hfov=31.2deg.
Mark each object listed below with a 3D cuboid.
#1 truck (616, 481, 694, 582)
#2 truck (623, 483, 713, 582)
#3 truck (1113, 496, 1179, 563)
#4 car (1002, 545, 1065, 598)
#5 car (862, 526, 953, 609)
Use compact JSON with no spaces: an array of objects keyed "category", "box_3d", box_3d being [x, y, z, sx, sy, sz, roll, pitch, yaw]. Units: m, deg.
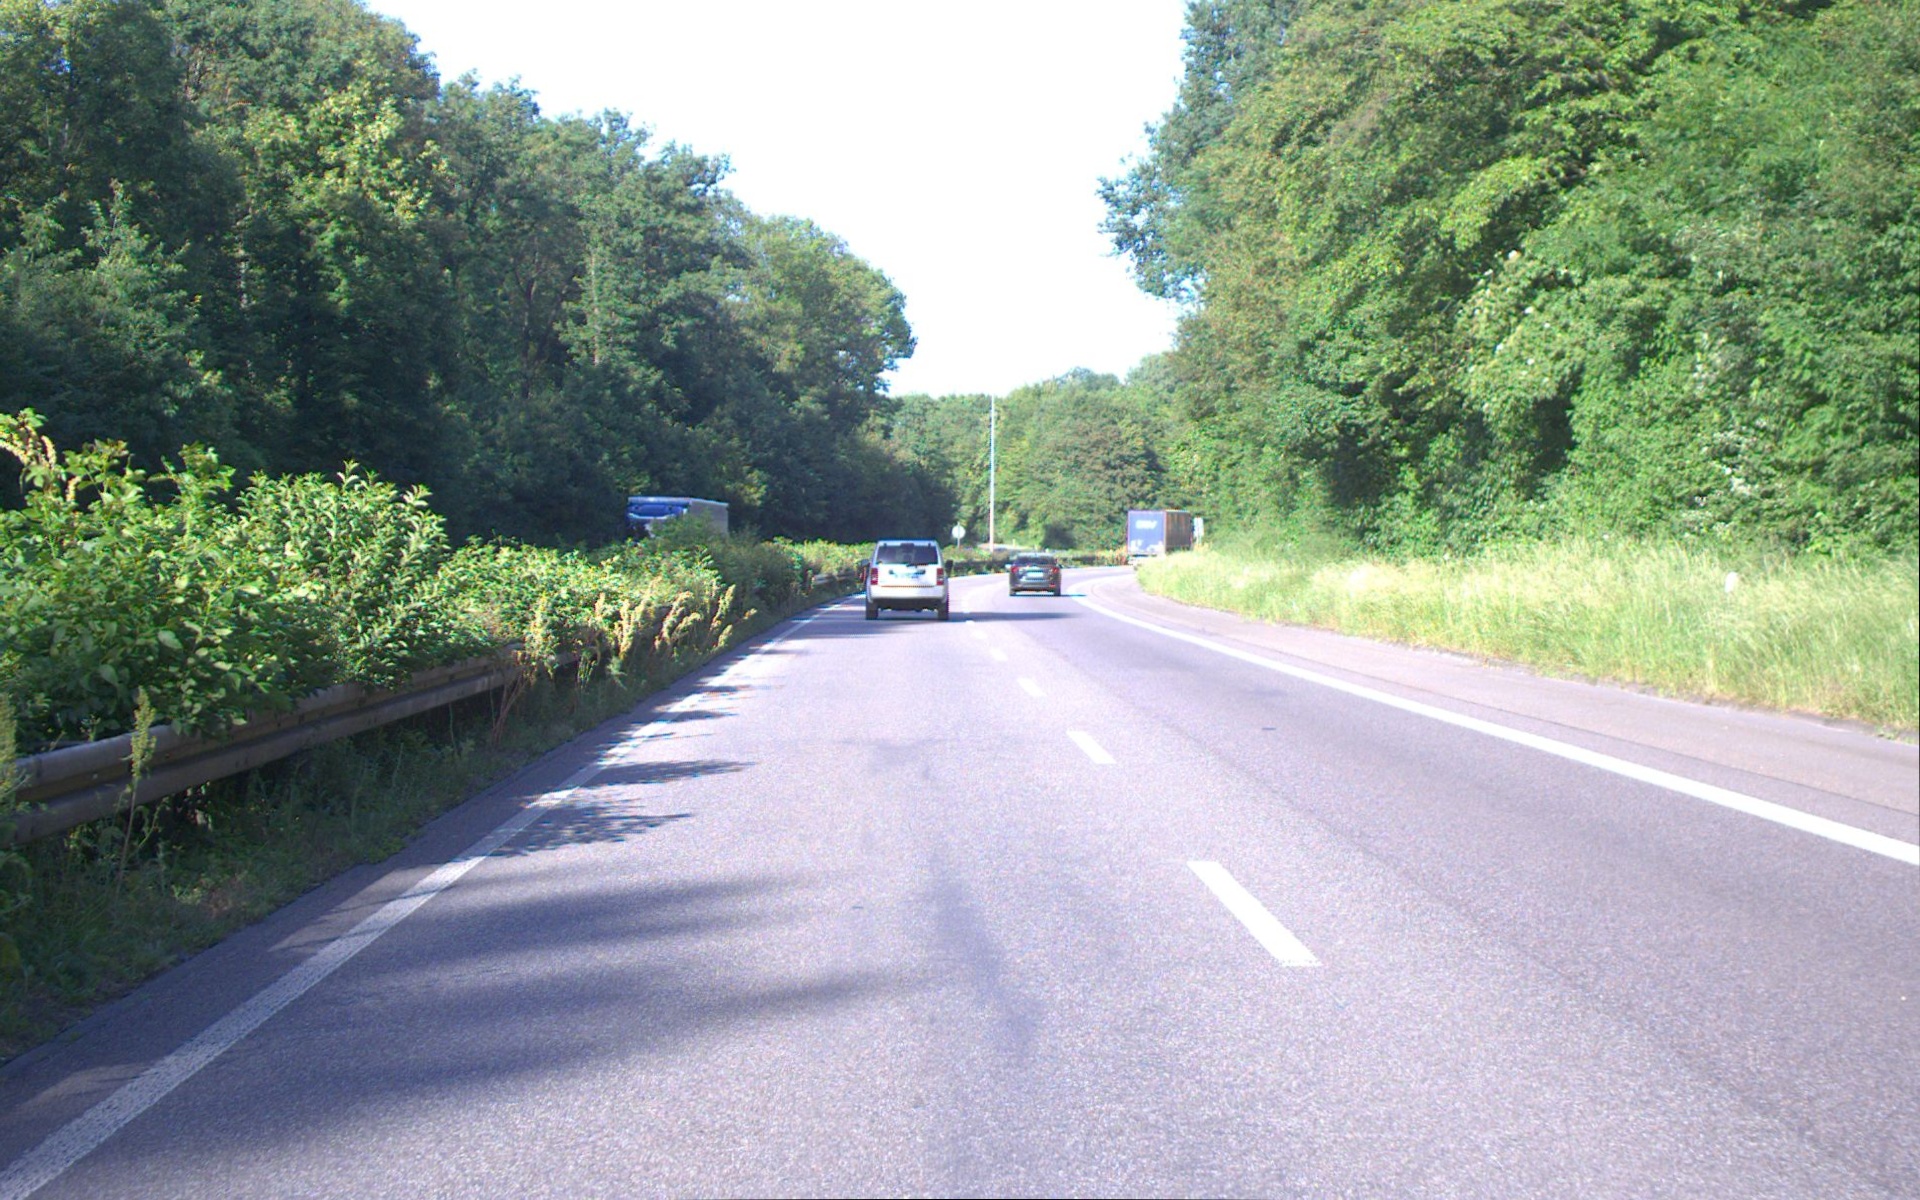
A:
[{"category":"truck","box_3d":[-12.652,-2.799,142.966,2.716,4.082,5.437,1,0,0]},{"category":"truck","box_3d":[-12.650,-2.850,150.121,2.707,4.082,14.022,1,0,0]},{"category":"truck","box_3d":[12.586,-4.731,232.048,3.735,4.328,9.301,1,0,7]},{"category":"car","box_3d":[2.519,-0.995,119.290,1.951,1.776,4.588,1,0,-1]},{"category":"car","box_3d":[-1.198,-0.724,77.409,1.951,1.776,4.588,1,0,-1]}]
